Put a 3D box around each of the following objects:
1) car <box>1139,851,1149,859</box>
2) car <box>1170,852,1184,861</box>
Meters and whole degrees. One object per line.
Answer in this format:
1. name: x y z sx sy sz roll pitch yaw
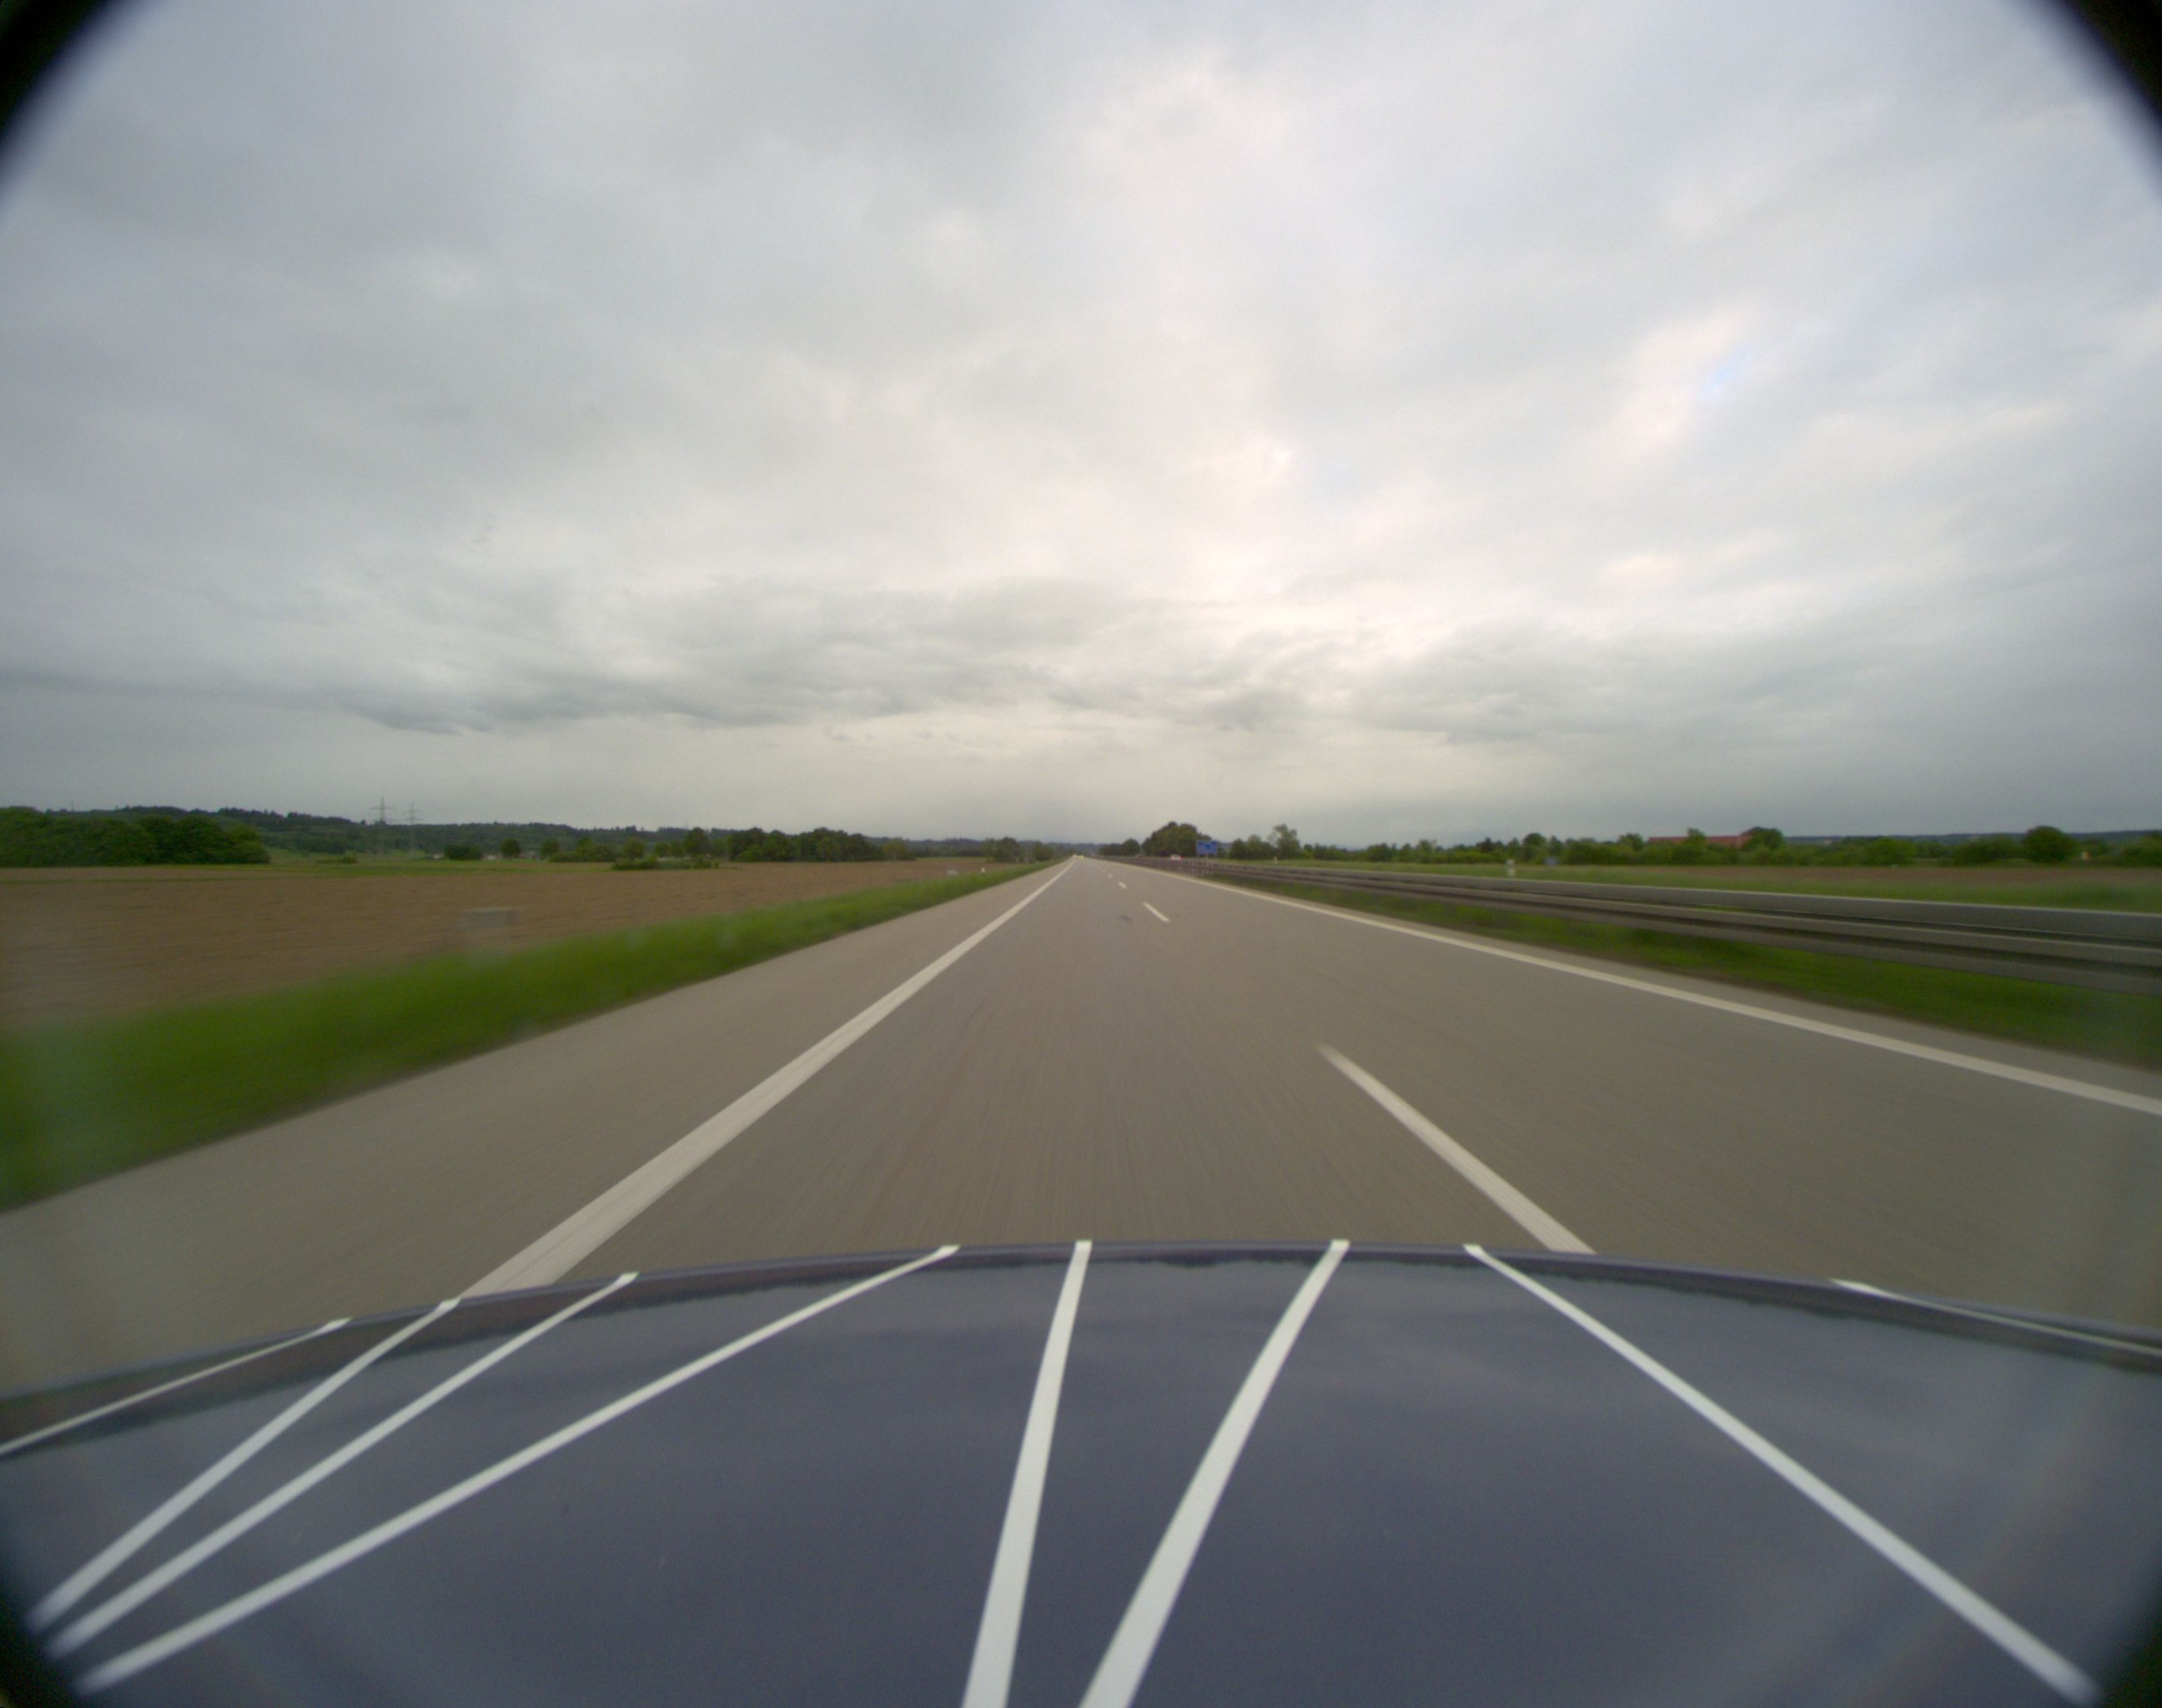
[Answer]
1. car: 14.440 0.258 174.942 1.998 1.691 4.301 -2 0 0
2. car: 18.337 0.461 145.620 1.999 1.487 4.762 -1 0 -1
